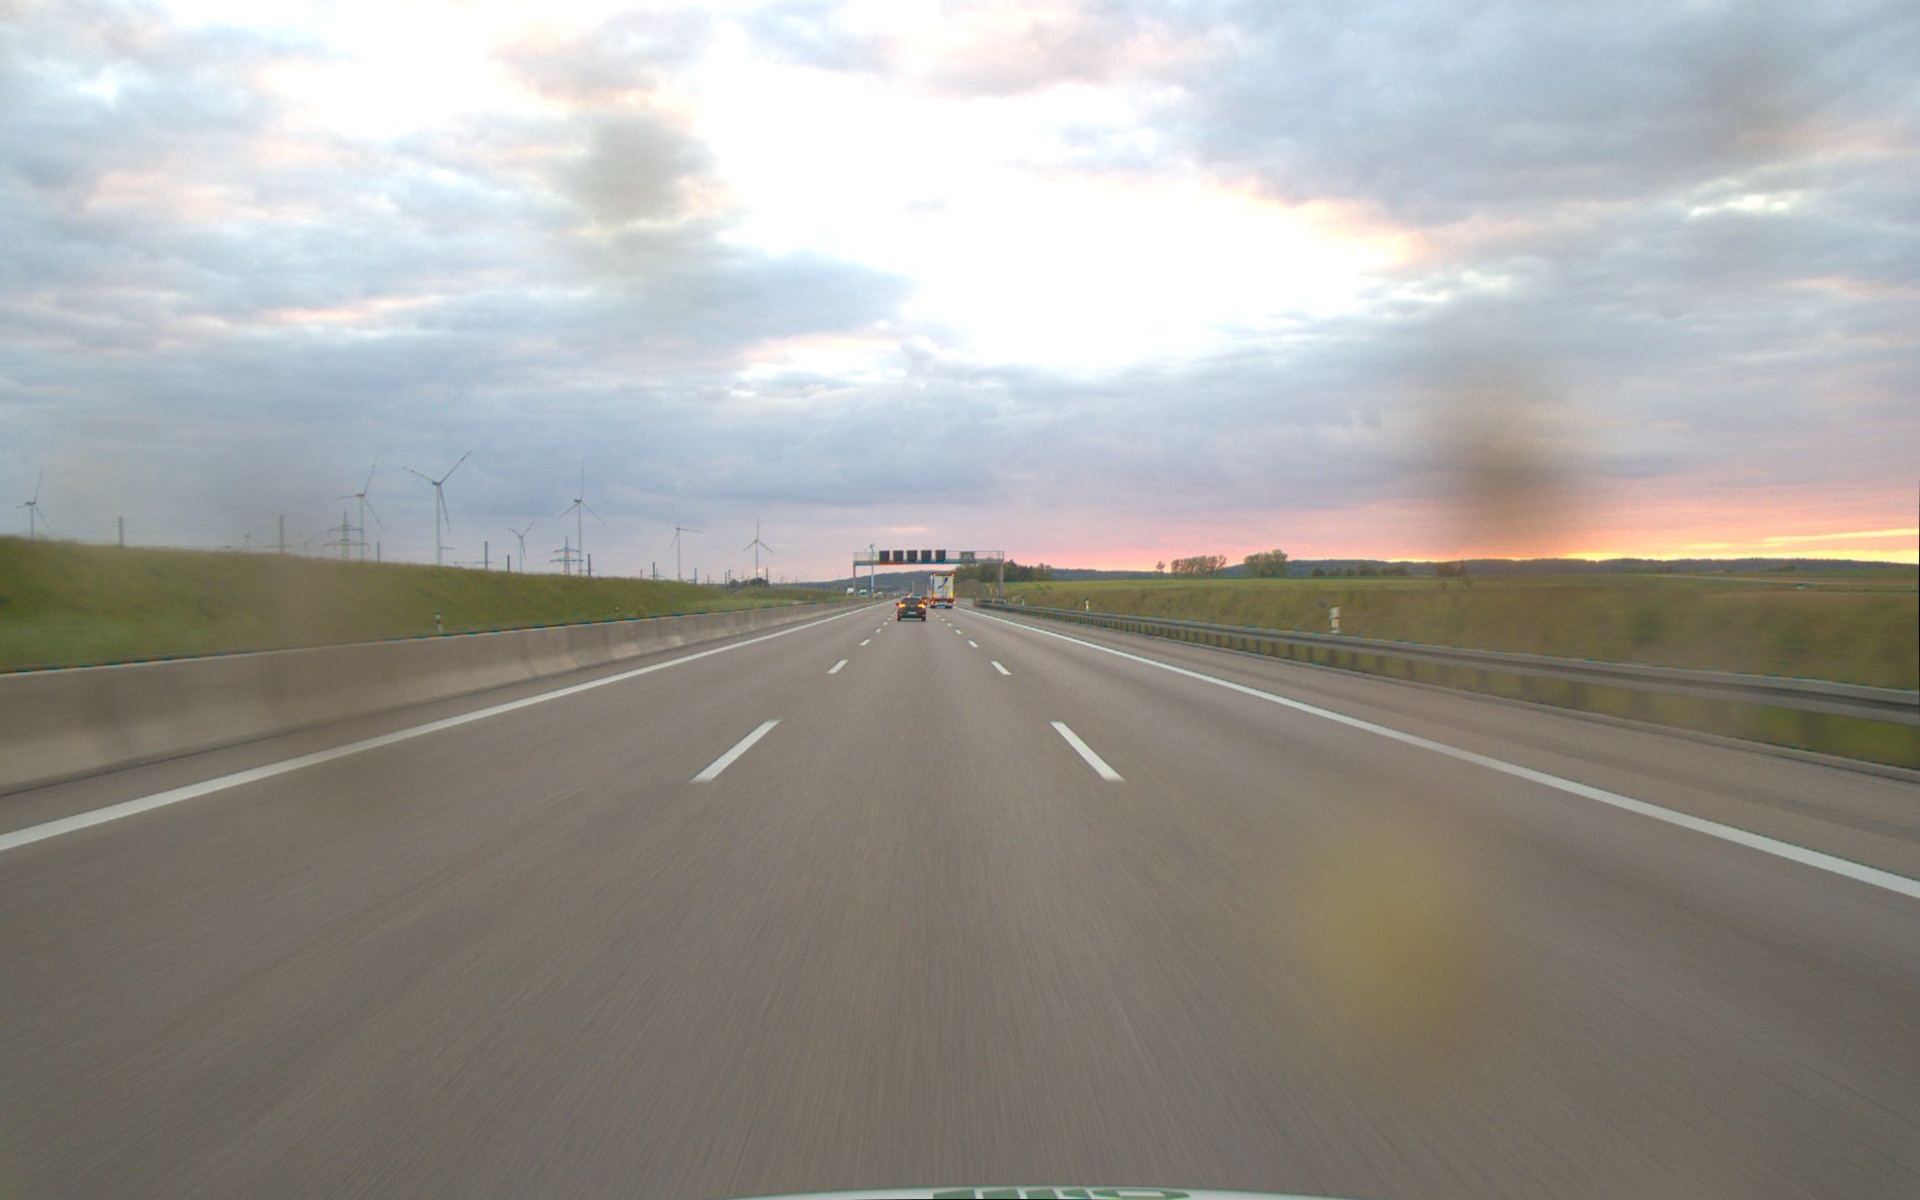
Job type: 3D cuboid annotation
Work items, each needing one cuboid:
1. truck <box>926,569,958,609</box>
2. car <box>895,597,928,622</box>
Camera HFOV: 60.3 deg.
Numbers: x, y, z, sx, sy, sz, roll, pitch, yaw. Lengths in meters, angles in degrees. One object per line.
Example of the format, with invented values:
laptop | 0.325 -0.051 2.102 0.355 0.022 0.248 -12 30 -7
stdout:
truck | -2.268 -1.351 203.229 3.601 4.644 10.977 -1 0 -2
car | -2.897 0.550 99.469 1.947 1.454 3.999 -1 1 -2
